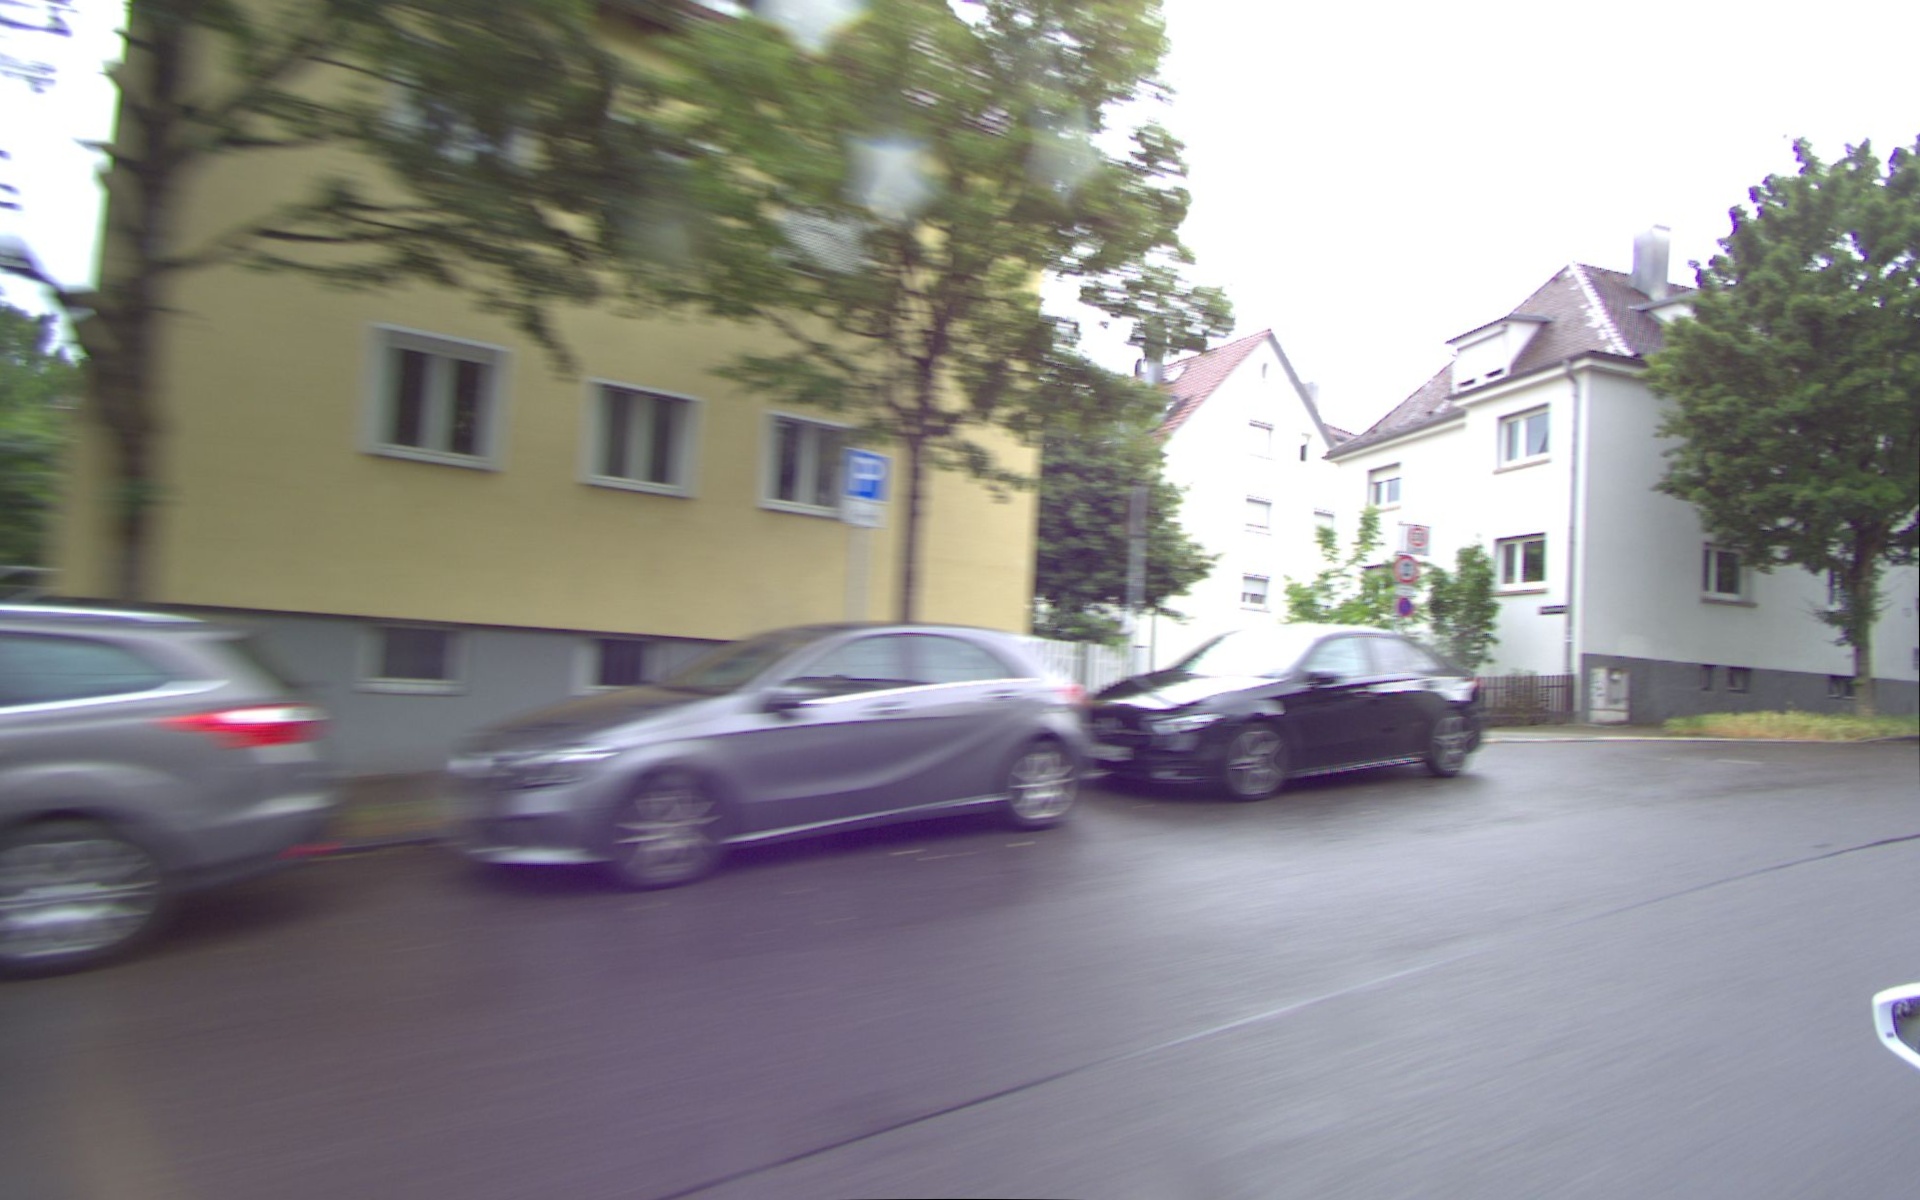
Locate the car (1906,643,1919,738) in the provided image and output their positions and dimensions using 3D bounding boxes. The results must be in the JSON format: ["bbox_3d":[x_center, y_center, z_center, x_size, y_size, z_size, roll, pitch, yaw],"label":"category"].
[{"bbox_3d":[17.841,1.513,16.387,4.281,1.533,1.783,3,-5,-21],"label":"car"}]

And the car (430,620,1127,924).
[{"bbox_3d":[-0.984,0.865,6.646,4.281,1.415,1.603,1,-1,-36],"label":"car"}]

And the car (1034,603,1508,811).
[{"bbox_3d":[3.045,0.876,9.517,4.465,1.561,1.766,2,-1,-31],"label":"car"}]

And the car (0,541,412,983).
[{"bbox_3d":[-4.941,0.632,4.150,4.511,1.712,1.841,2,-2,-36],"label":"car"}]
